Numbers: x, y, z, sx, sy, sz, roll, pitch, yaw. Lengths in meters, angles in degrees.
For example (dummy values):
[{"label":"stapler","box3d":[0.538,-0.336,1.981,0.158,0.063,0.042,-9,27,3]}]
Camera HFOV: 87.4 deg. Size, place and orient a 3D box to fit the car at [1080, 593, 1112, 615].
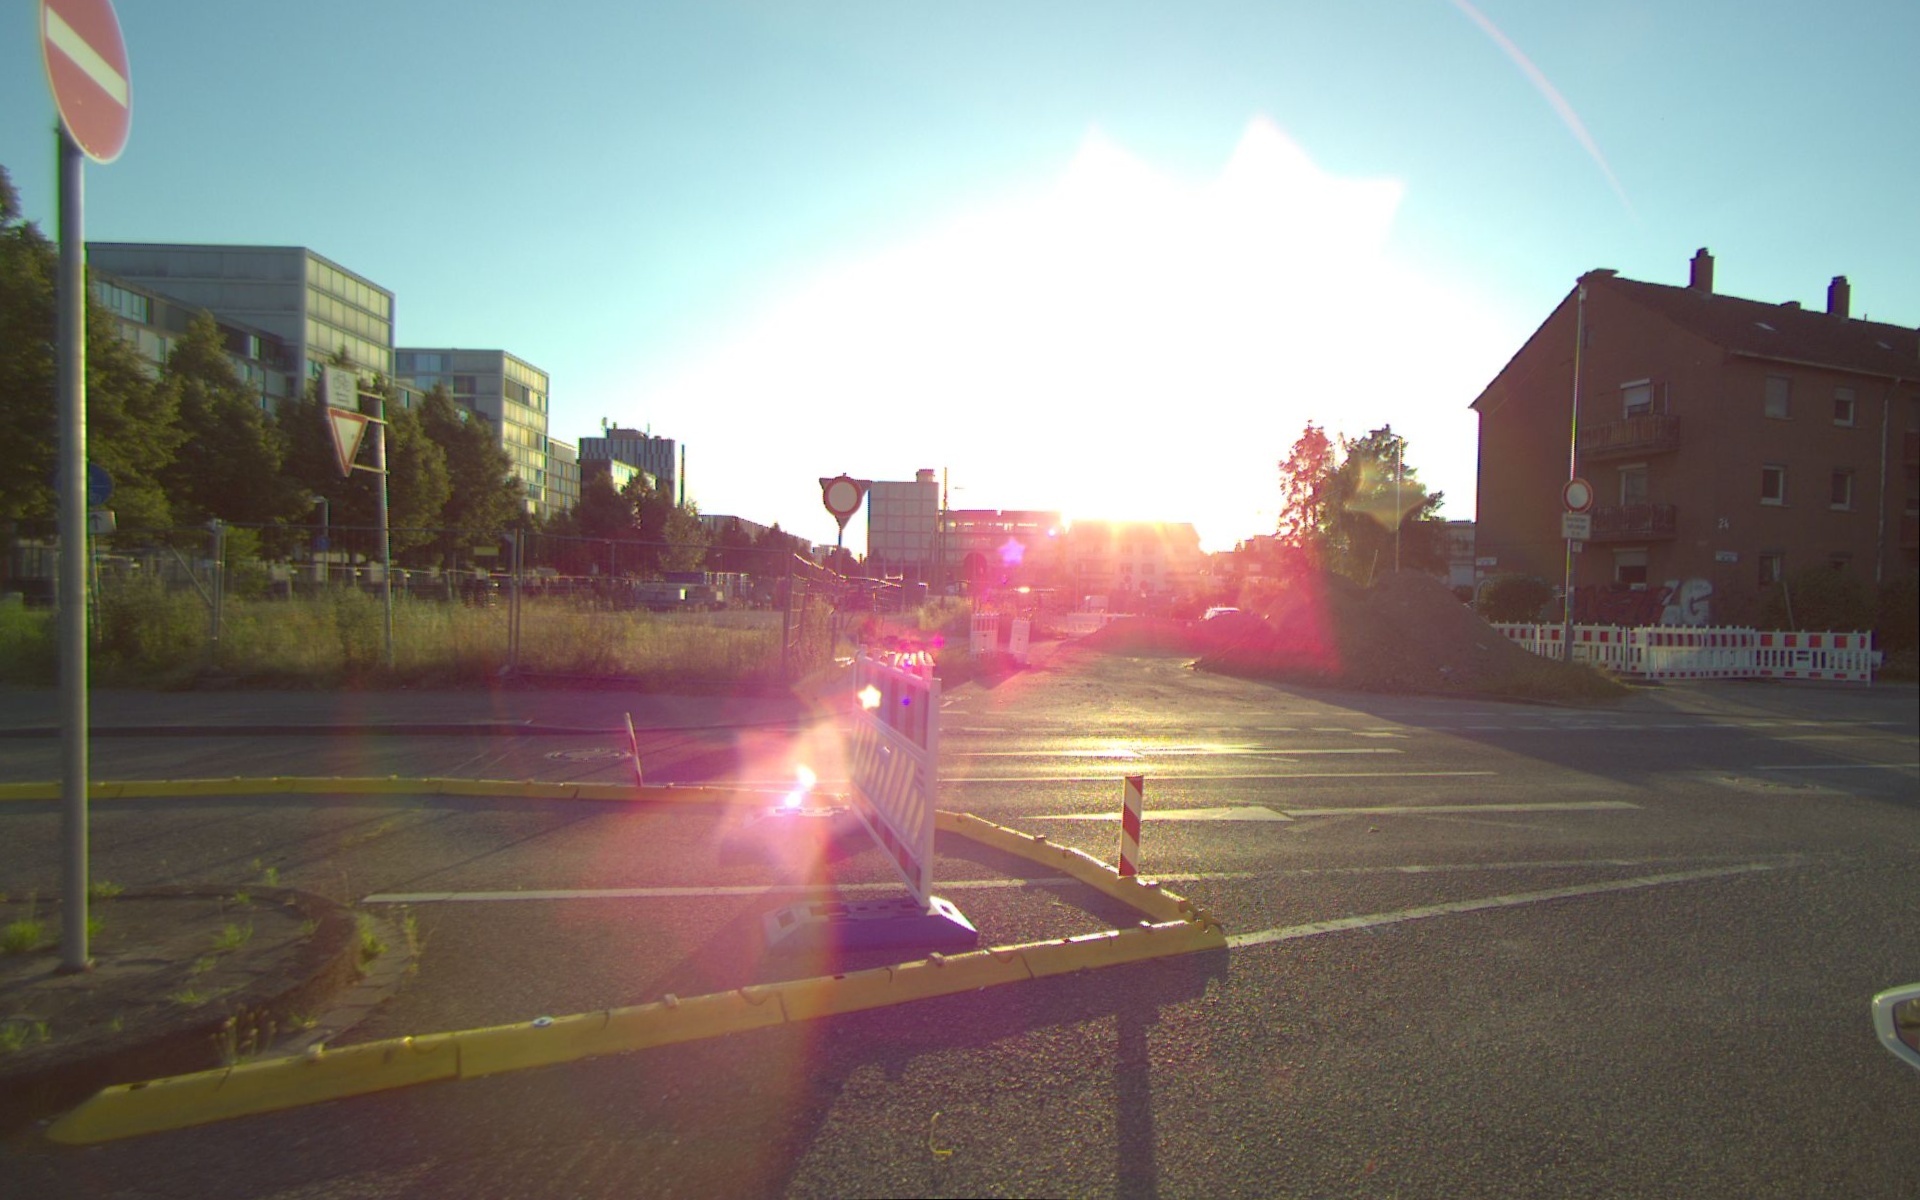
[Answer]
[{"label":"car","box3d":[10.966,0.276,81.124,1.816,1.673,3.999,1,0,-2]}]
